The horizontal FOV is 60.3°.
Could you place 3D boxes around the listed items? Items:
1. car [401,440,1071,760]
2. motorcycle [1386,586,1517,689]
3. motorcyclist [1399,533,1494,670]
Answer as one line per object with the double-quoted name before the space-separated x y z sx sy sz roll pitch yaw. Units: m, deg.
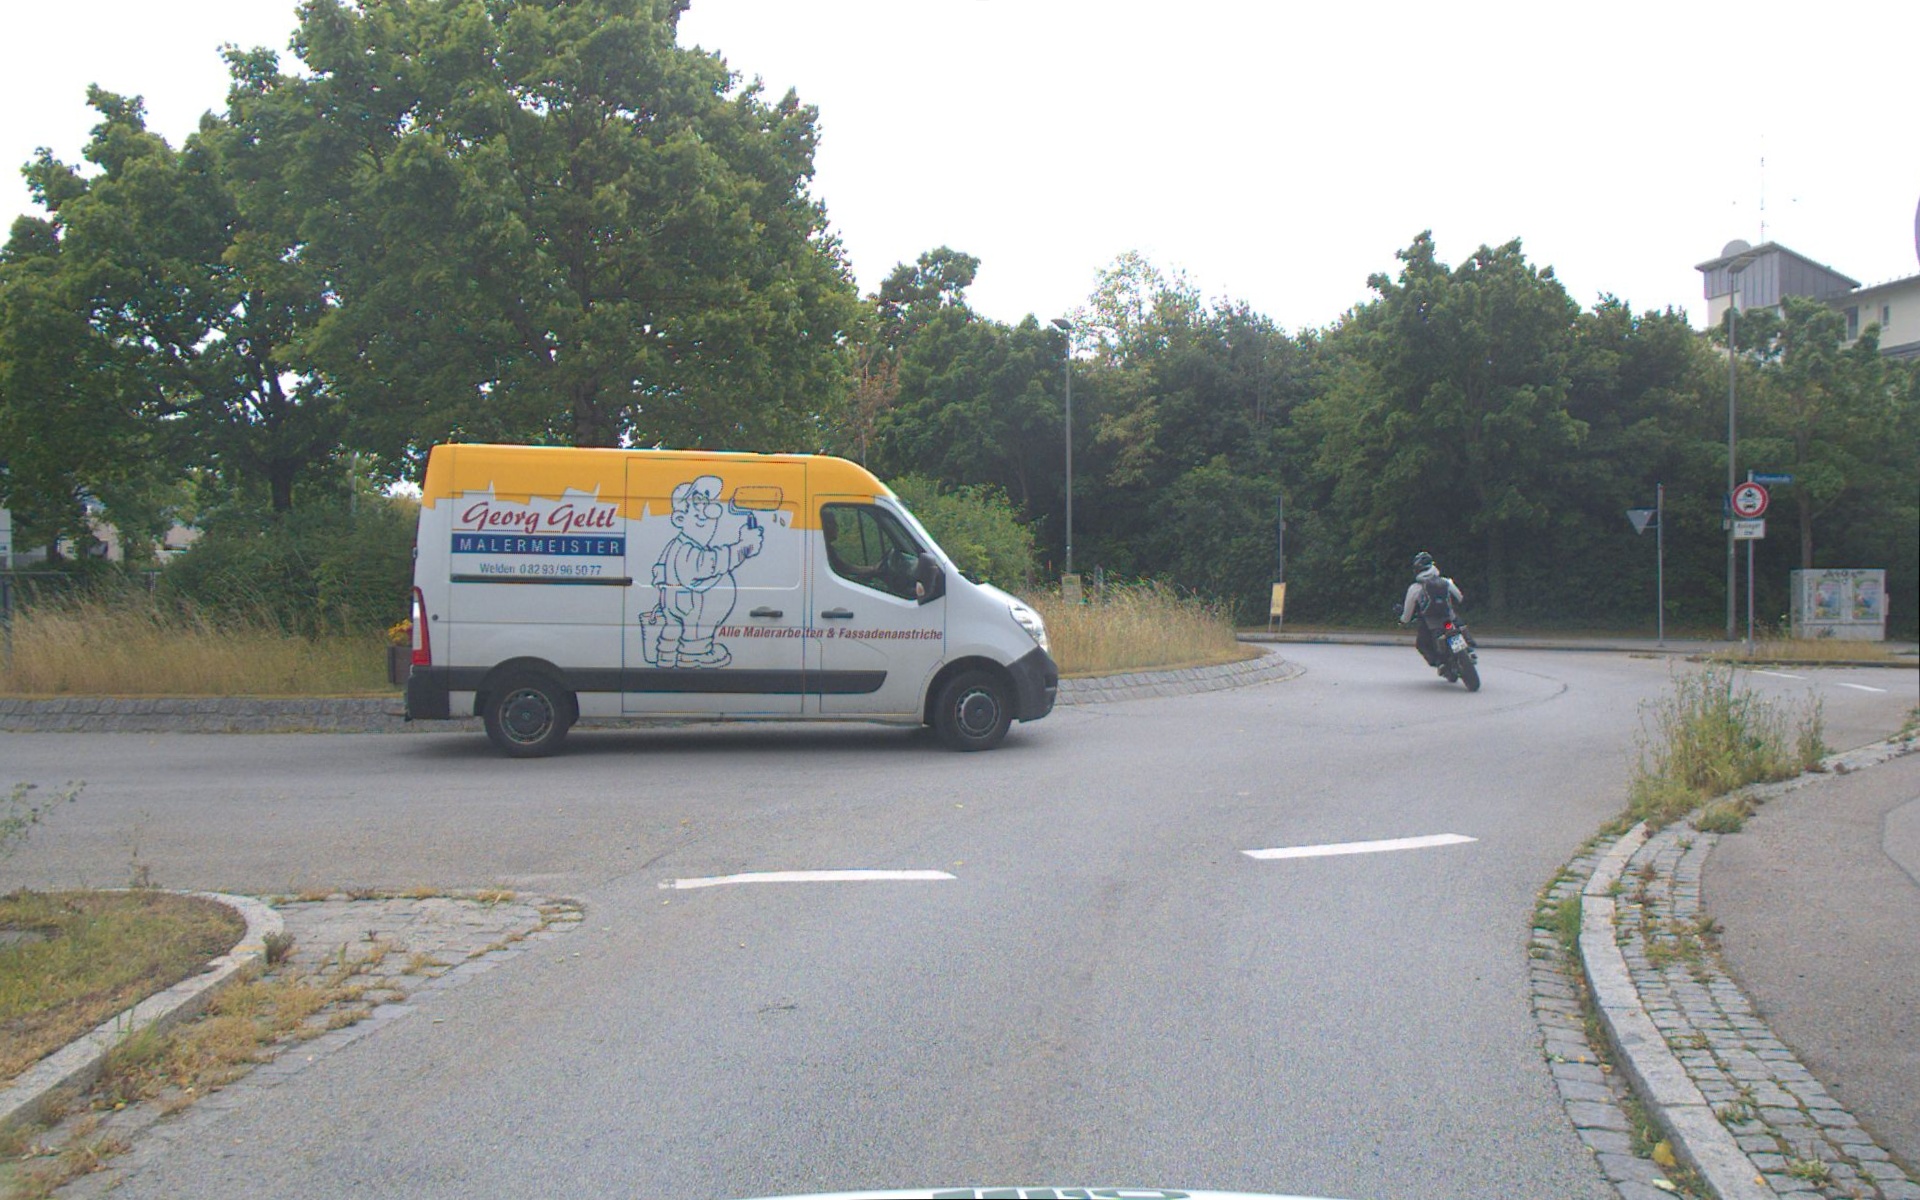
"car" -1.854 -0.051 14.353 5.322 2.494 2.166 0 2 -8
"motorcycle" 6.065 0.421 20.577 0.878 1.178 2.621 0 1 1
"motorcyclist" 6.054 0.011 20.636 0.843 1.652 1.191 0 1 0
